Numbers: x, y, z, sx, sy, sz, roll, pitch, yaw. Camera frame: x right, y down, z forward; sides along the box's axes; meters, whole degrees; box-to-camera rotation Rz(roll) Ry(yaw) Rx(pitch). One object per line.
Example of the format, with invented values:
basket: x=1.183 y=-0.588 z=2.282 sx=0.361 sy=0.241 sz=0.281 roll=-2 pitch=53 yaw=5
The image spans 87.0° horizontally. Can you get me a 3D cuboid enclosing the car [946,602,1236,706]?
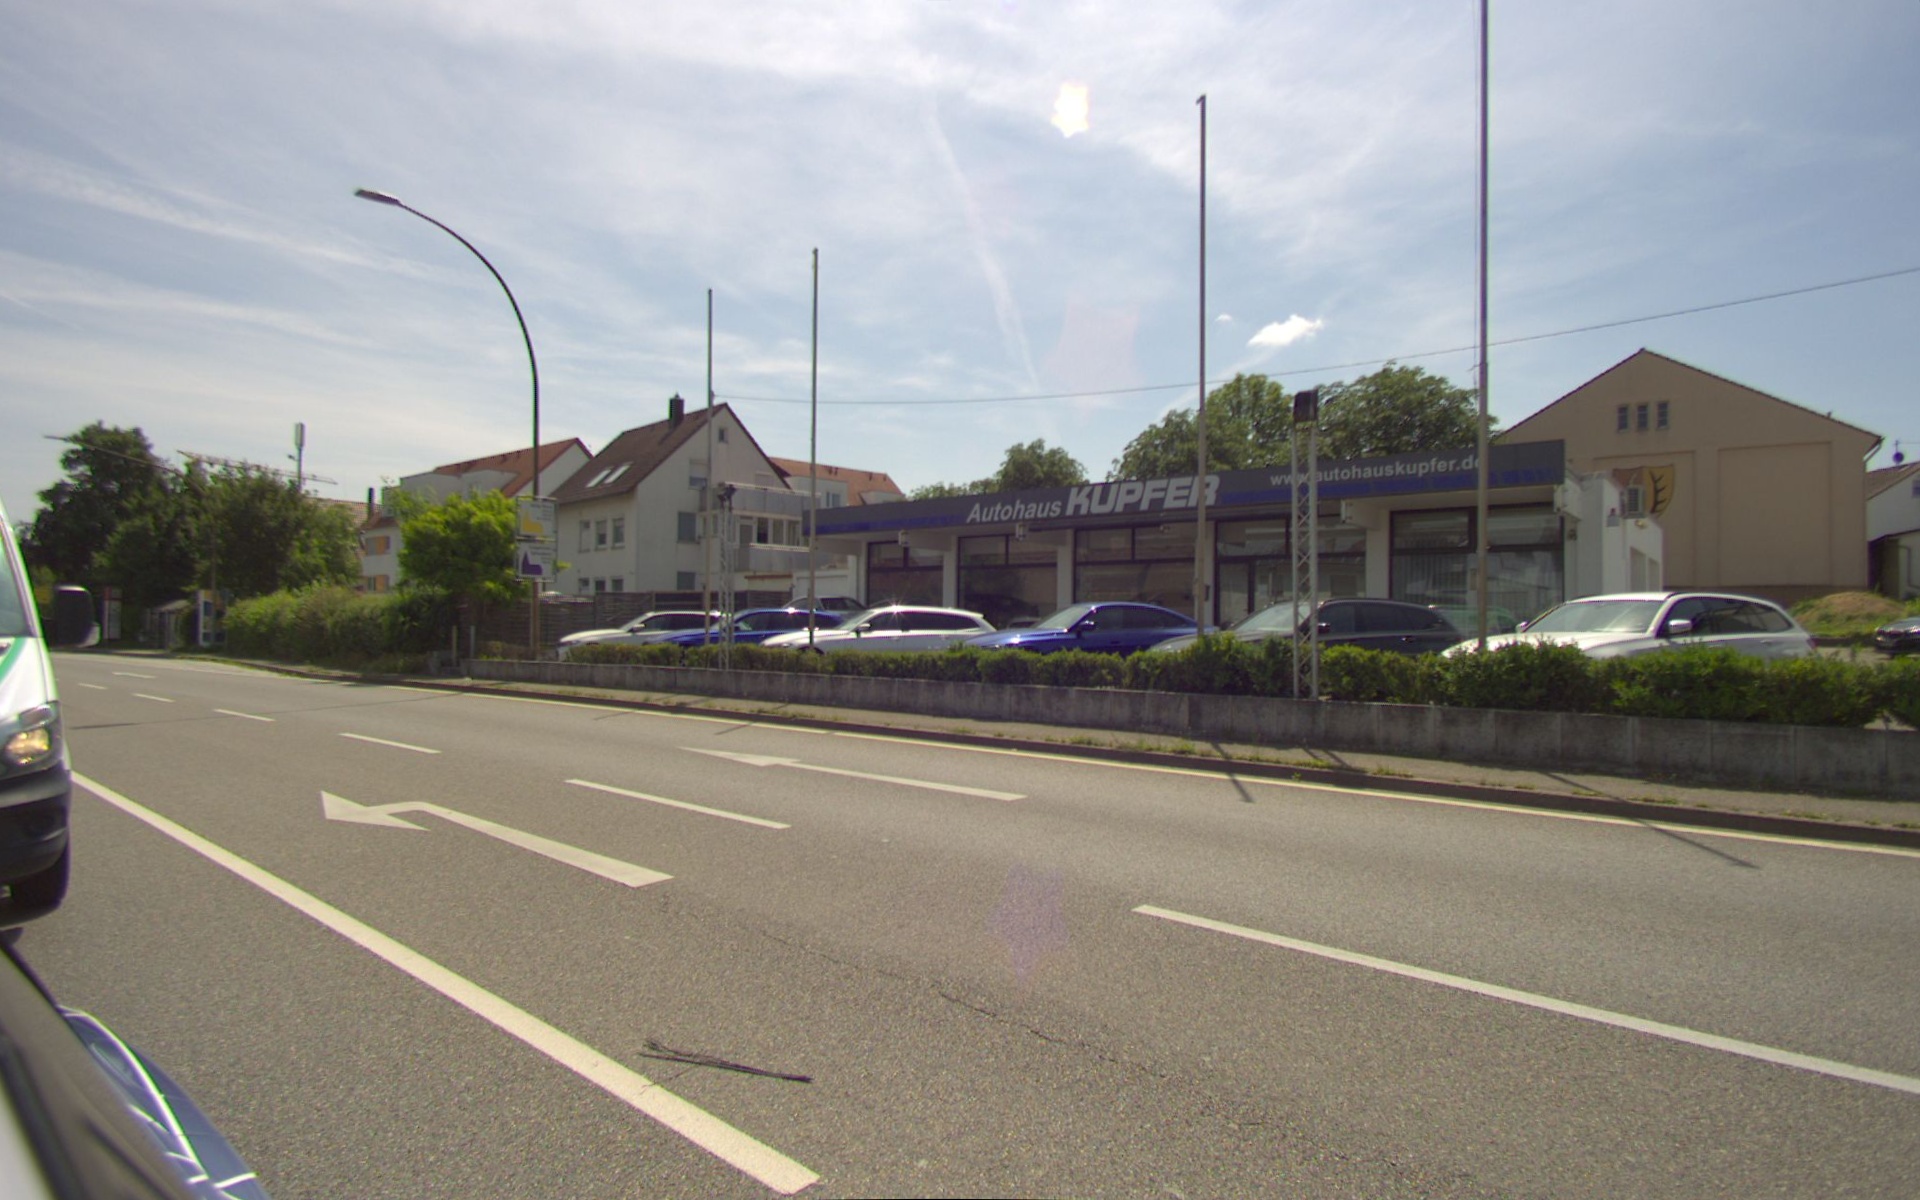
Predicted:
car: x=2.097 y=0.790 z=16.369 sx=4.267 sy=1.458 sz=1.863 roll=-1 pitch=0 yaw=-20

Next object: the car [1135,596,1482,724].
car: x=4.687 y=0.700 z=13.605 sx=4.267 sy=1.458 sz=1.905 roll=-1 pitch=0 yaw=-24

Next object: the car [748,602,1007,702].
car: x=-1.559 y=0.895 z=18.959 sx=4.438 sy=1.458 sz=1.863 roll=-3 pitch=1 yaw=-19

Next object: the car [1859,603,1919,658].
car: x=24.178 y=0.658 z=24.011 sx=3.946 sy=1.231 sz=1.791 roll=-2 pitch=0 yaw=2

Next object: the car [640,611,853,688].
car: x=-4.642 y=1.004 z=21.946 sx=4.267 sy=1.458 sz=1.863 roll=-1 pitch=0 yaw=-21

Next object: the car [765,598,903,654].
car: x=-3.769 y=0.735 z=29.553 sx=1.781 sy=1.475 sz=4.589 roll=-1 pitch=0 yaw=-40

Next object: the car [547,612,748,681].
car: x=-7.567 y=1.072 z=24.592 sx=4.501 sy=1.458 sz=1.863 roll=-1 pitch=0 yaw=-21

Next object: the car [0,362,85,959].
car: x=-6.722 y=0.308 z=5.665 sx=5.745 sy=2.548 sz=1.915 roll=-1 pitch=-1 yaw=40

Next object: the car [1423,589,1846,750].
car: x=7.393 y=0.630 z=11.081 sx=4.267 sy=1.458 sz=1.863 roll=-1 pitch=0 yaw=-24
